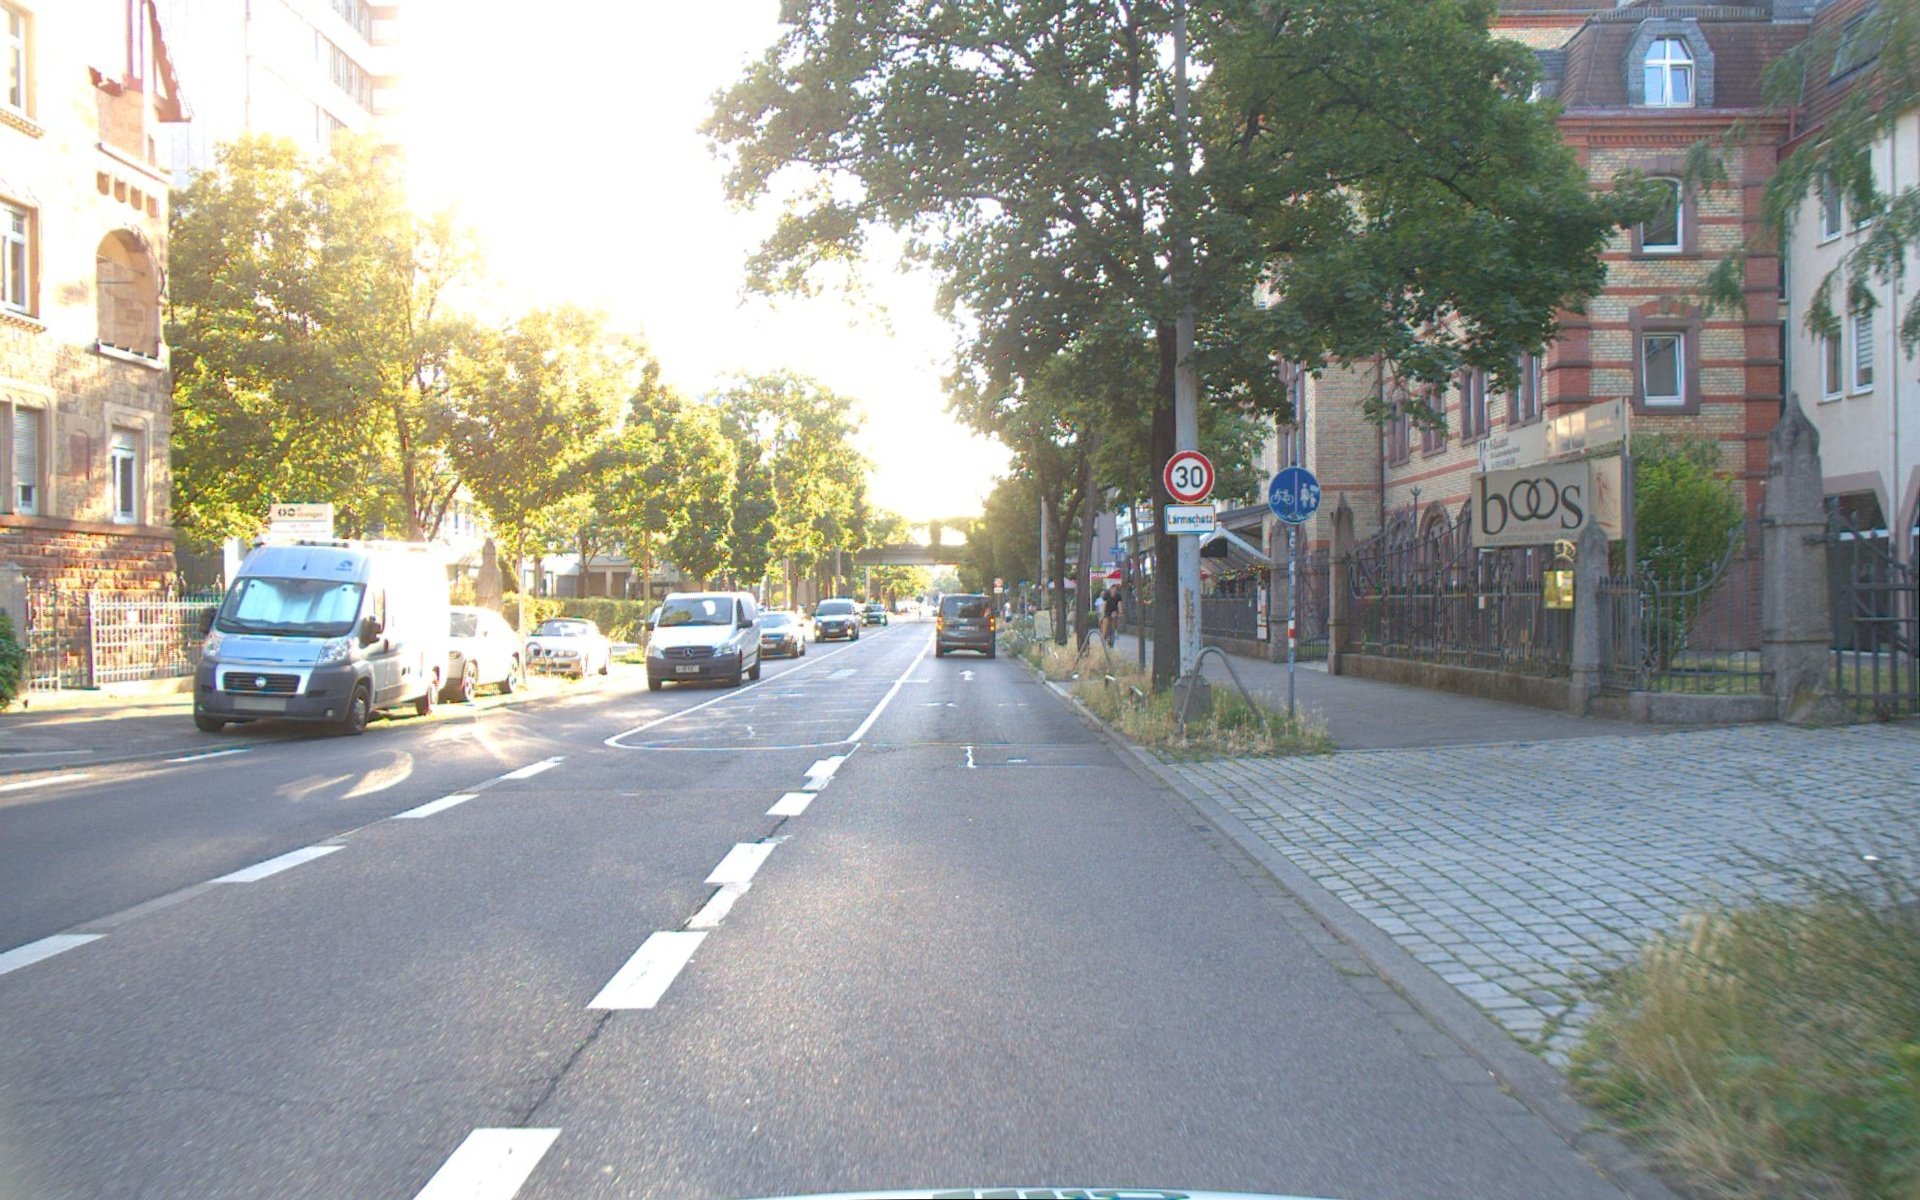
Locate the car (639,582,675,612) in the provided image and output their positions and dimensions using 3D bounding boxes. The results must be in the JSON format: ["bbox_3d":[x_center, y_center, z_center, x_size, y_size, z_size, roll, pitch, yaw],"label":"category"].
[{"bbox_3d":[-24.894,-0.213,135.918,1.953,2.348,5.245,1,0,0],"label":"car"}]

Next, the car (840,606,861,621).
[{"bbox_3d":[-11.705,1.441,176.939,1.953,1.439,4.237,1,0,0],"label":"car"}]

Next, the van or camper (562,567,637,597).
[{"bbox_3d":[-33.471,-1.666,153.649,6.431,2.566,2.448,2,0,-2],"label":"van or camper"}]

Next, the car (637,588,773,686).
[{"bbox_3d":[-5.248,0.717,34.707,1.952,1.863,5.169,-1,0,1],"label":"car"}]

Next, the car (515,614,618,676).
[{"bbox_3d":[-8.880,0.997,37.533,1.505,1.270,3.613,1,0,-1],"label":"car"}]

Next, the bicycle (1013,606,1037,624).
[{"bbox_3d":[3.424,0.774,87.070,0.579,0.913,1.976,2,0,-19],"label":"bicycle"}]

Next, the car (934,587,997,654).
[{"bbox_3d":[0.193,0.612,51.441,1.848,1.958,3.839,-1,0,1],"label":"car"}]

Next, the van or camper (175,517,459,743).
[{"bbox_3d":[-8.759,0.366,23.210,1.954,2.715,6.033,1,0,-4],"label":"van or camper"}]

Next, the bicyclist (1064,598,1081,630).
[{"bbox_3d":[4.613,0.566,67.929,0.573,1.258,1.112,1,0,0],"label":"bicyclist"}]

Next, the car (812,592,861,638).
[{"bbox_3d":[-5.294,0.622,71.369,1.796,1.885,4.473,-1,0,-1],"label":"car"}]

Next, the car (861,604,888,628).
[{"bbox_3d":[-5.841,1.086,113.215,1.645,1.557,4.000,-2,0,0],"label":"car"}]

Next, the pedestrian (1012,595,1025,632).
[{"bbox_3d":[3.057,0.690,86.198,0.496,1.922,0.543,2,0,-15],"label":"pedestrian"}]

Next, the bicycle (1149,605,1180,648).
[{"bbox_3d":[5.261,0.670,42.658,0.507,1.058,2.088,1,0,0],"label":"bicycle"}]

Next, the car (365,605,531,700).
[{"bbox_3d":[-9.178,0.892,30.014,1.711,1.561,4.301,1,0,-1],"label":"car"}]

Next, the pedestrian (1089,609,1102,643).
[{"bbox_3d":[5.519,1.054,67.503,0.457,1.374,0.530,1,0,0],"label":"pedestrian"}]

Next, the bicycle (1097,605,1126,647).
[{"bbox_3d":[3.933,0.669,43.086,0.533,1.058,2.088,1,0,0],"label":"bicycle"}]

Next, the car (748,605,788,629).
[{"bbox_3d":[-11.961,1.054,103.171,1.953,1.439,4.237,1,0,0],"label":"car"}]

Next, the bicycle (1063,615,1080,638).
[{"bbox_3d":[4.590,1.091,68.043,0.567,0.913,1.987,1,0,0],"label":"bicycle"}]

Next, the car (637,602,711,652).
[{"bbox_3d":[-8.990,0.834,52.215,1.662,1.477,3.999,1,0,-1],"label":"car"}]

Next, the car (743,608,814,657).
[{"bbox_3d":[-5.631,0.980,51.831,1.723,1.410,4.304,-2,0,0],"label":"car"}]

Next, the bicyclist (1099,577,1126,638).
[{"bbox_3d":[3.979,0.197,43.135,0.583,1.559,0.893,1,0,0],"label":"bicyclist"}]

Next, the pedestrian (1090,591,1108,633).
[{"bbox_3d":[5.576,0.485,66.346,0.631,1.661,0.656,1,0,0],"label":"pedestrian"}]

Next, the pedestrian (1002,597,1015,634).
[{"bbox_3d":[2.525,0.811,86.680,0.496,1.922,0.543,2,0,-15],"label":"pedestrian"}]

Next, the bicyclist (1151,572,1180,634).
[{"bbox_3d":[5.285,0.075,42.514,0.583,1.559,0.893,1,0,0],"label":"bicyclist"}]
